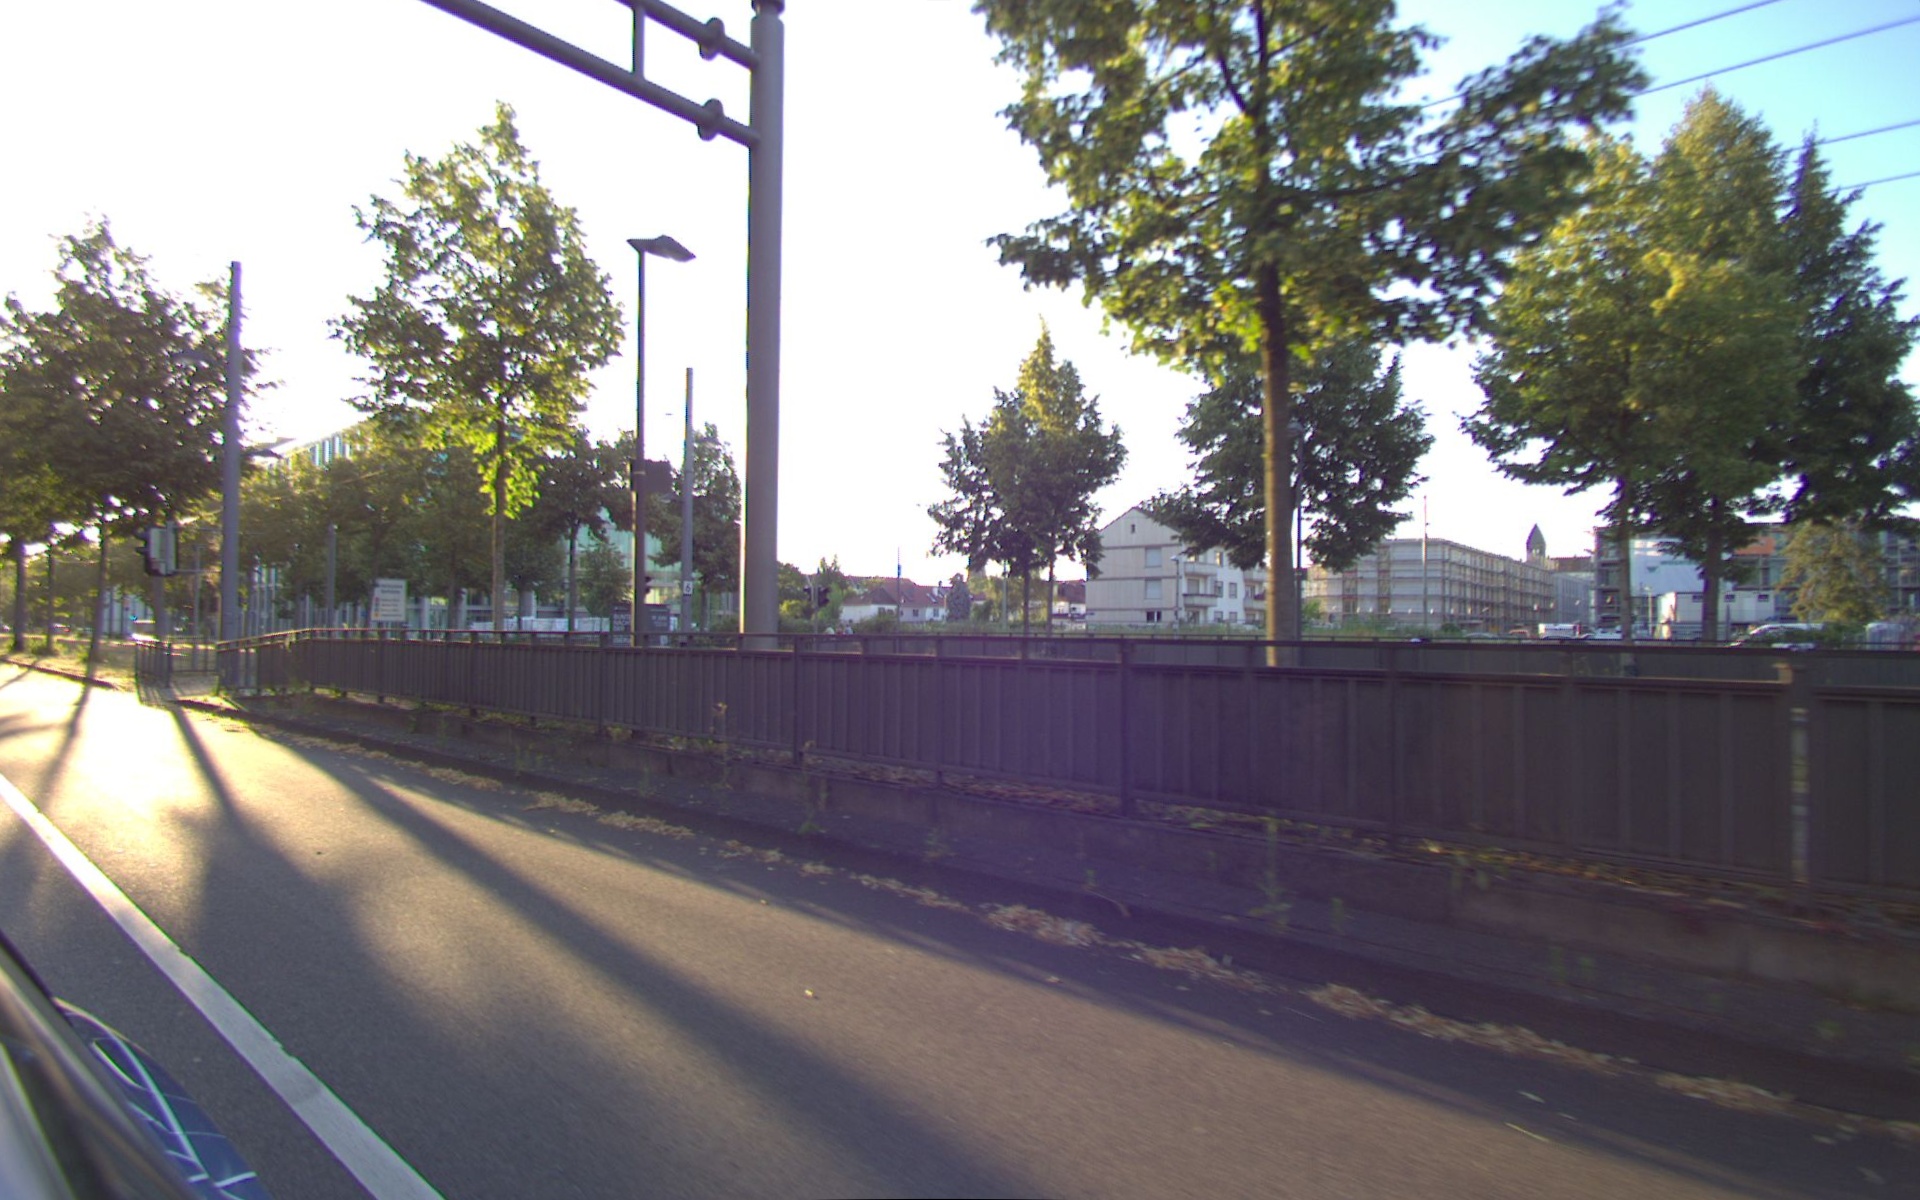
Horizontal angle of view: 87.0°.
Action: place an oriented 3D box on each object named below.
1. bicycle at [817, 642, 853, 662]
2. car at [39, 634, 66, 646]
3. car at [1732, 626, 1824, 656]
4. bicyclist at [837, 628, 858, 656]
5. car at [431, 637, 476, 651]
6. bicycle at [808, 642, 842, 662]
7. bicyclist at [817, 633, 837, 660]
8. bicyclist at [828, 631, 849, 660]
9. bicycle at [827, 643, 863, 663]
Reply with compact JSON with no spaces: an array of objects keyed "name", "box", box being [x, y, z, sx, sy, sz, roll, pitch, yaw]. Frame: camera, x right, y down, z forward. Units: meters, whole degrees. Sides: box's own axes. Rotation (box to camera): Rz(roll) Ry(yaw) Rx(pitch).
[{"name":"bicycle","box":[-6.577,2.718,53.061,2.081,1.019,0.613,-1,-3,40]},{"name":"car","box":[-117.292,5.220,130.776,4.627,1.497,1.883,-2,-3,40]},{"name":"car","box":[57.411,2.833,71.135,4.793,2.029,1.976,-1,-2,35]},{"name":"bicyclist","box":[-5.924,2.221,53.417,0.936,1.467,0.613,-1,-3,40]},{"name":"car","box":[-55.081,4.792,110.028,1.895,1.457,3.942,-2,-3,44]},{"name":"bicycle","box":[-7.375,2.829,55.338,2.081,1.019,0.613,-1,-3,40]},{"name":"bicyclist","box":[-7.251,2.526,55.233,0.936,1.432,0.613,-1,-3,40]},{"name":"bicyclist","box":[-6.342,2.367,52.872,0.936,1.467,0.613,-1,-3,40]},{"name":"bicycle","box":[-6.083,2.779,53.520,2.081,1.019,0.613,-1,-3,40]}]
